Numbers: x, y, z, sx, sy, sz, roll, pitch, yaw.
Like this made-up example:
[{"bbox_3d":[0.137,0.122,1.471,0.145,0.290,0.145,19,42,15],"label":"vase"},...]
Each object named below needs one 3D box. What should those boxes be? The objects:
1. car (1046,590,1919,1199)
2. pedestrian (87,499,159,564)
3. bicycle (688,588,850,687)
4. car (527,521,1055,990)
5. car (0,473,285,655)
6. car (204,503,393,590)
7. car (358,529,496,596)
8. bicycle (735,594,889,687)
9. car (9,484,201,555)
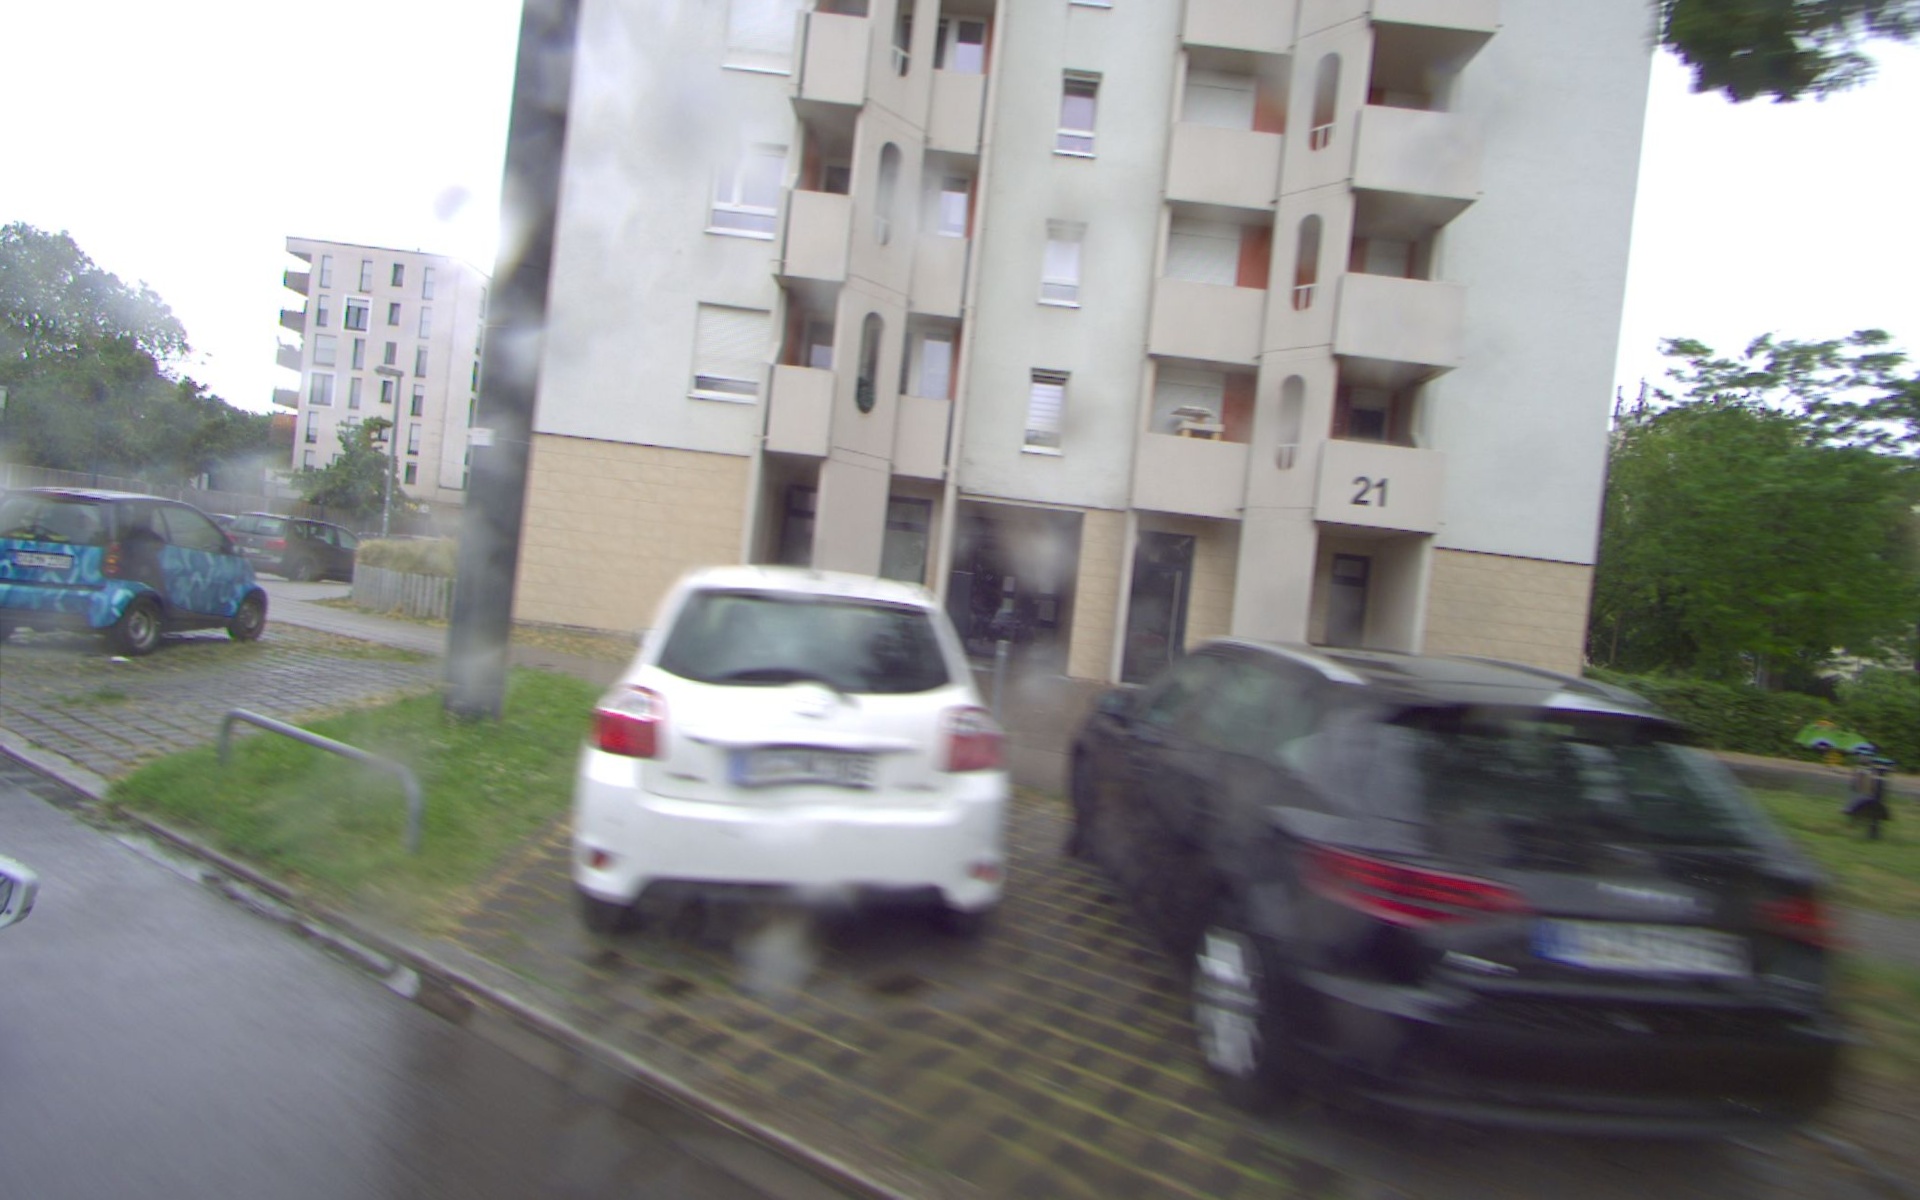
[{"bbox_3d":[1.594,0.853,4.418,1.654,1.451,3.936,6,3,-5],"label":"car"},{"bbox_3d":[-22.119,-1.800,26.598,1.074,1.536,0.838,6,0,3],"label":"pedestrian"},{"bbox_3d":[-2.435,0.463,12.727,2.024,1.018,0.662,6,0,32],"label":"bicycle"},{"bbox_3d":[-0.860,0.471,5.663,1.734,1.569,4.174,6,3,-8],"label":"car"},{"bbox_3d":[-8.651,-0.363,10.515,1.575,1.567,2.561,6,0,-8],"label":"car"},{"bbox_3d":[-16.498,-1.271,25.380,1.781,1.636,4.115,7,-1,2],"label":"car"},{"bbox_3d":[-16.221,-1.086,30.875,1.781,1.551,4.115,7,-1,2],"label":"car"},{"bbox_3d":[-2.005,0.529,13.502,2.024,1.018,0.662,6,0,32],"label":"bicycle"},{"bbox_3d":[-24.961,-2.319,29.460,3.924,1.458,2.001,6,-1,4],"label":"car"}]
